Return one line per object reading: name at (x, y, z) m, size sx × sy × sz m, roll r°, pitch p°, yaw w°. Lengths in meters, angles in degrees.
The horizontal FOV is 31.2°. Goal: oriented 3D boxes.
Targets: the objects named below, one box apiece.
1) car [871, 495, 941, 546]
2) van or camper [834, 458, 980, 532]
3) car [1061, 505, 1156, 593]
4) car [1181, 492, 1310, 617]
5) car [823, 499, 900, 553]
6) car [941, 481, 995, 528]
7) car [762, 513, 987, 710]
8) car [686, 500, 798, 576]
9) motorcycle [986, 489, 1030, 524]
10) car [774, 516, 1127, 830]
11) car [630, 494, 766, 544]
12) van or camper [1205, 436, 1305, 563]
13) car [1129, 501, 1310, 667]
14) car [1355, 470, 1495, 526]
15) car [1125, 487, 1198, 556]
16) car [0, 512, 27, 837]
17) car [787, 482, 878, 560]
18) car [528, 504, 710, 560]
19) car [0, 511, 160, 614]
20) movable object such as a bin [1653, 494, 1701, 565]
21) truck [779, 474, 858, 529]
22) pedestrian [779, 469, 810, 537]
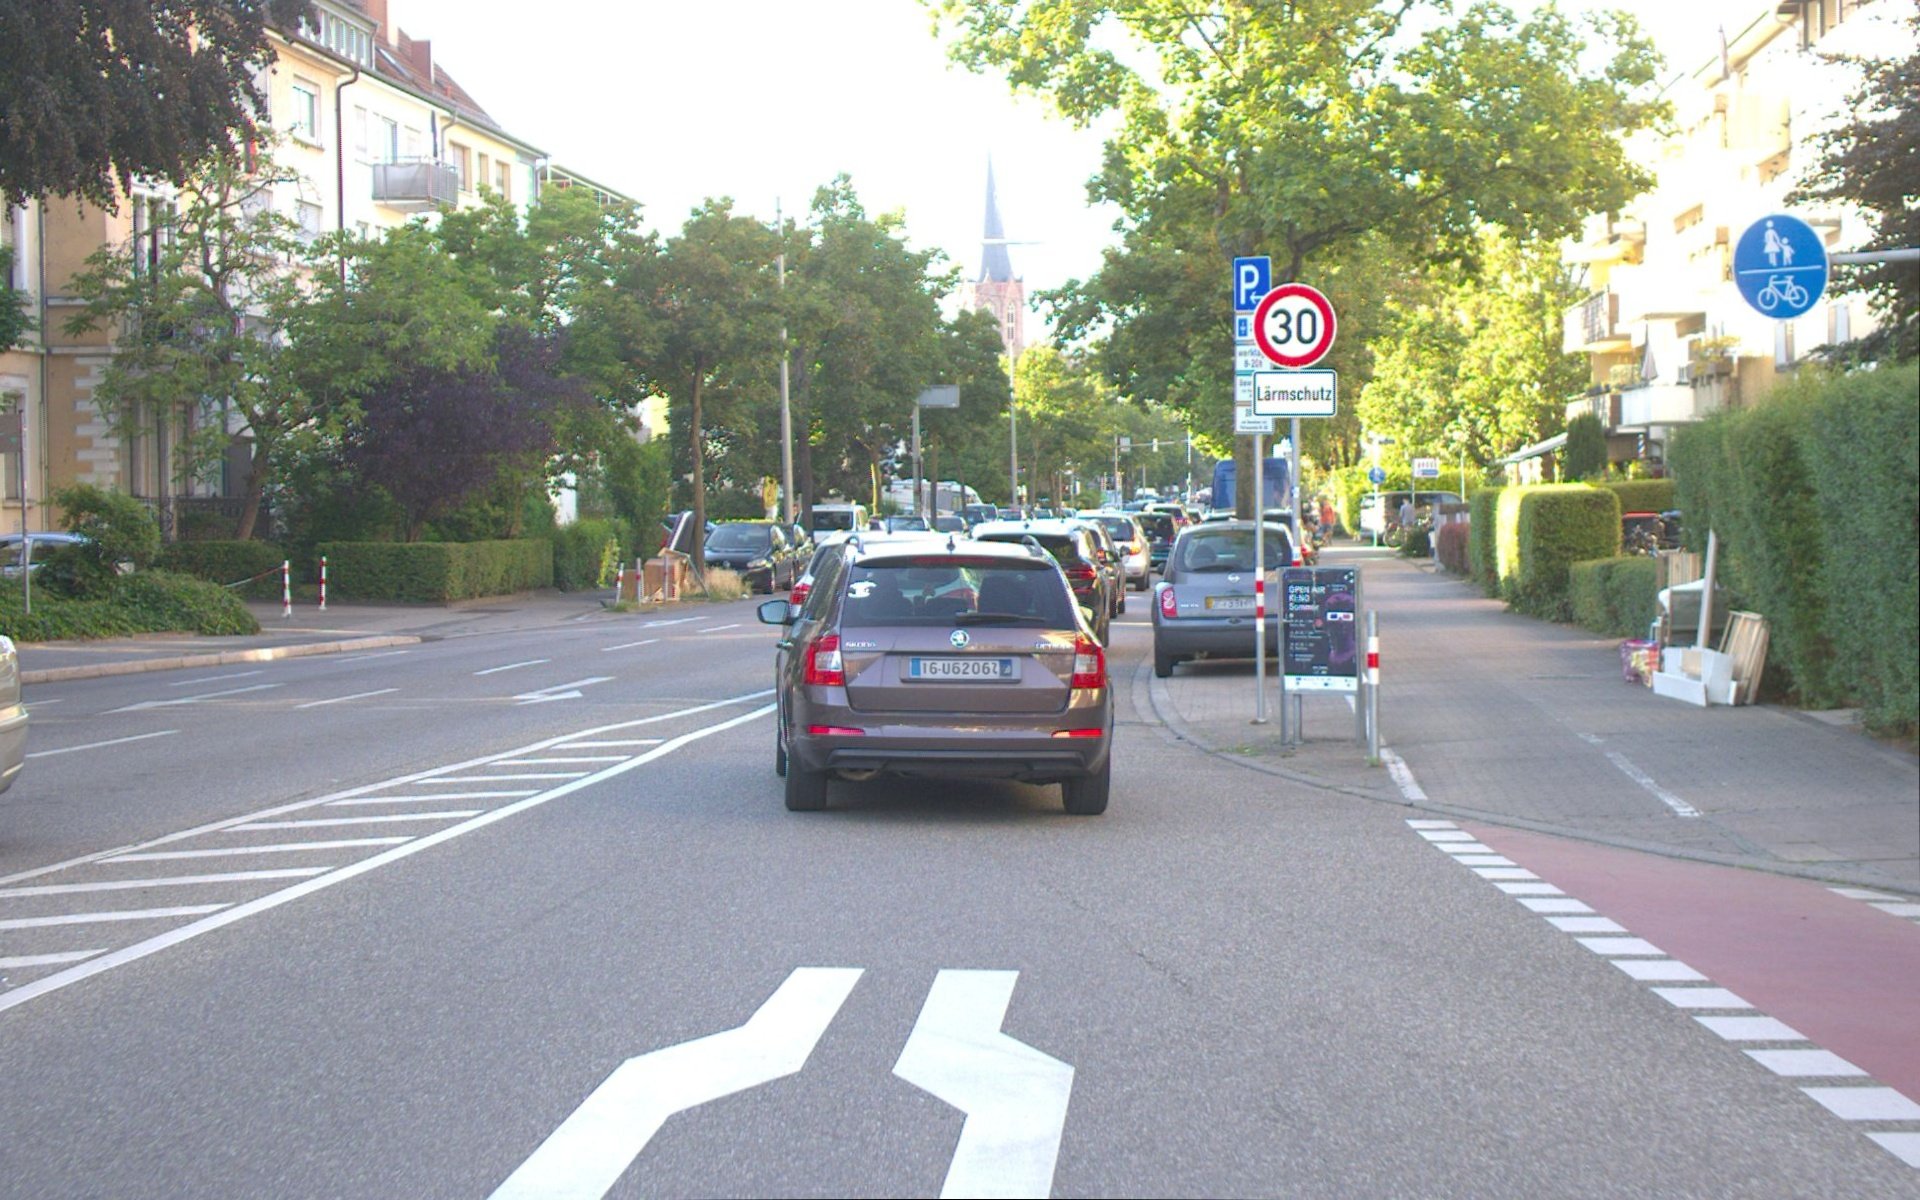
car at (-1.667, -2.503, 107.517) m, size 1.717 × 1.492 × 4.247 m, roll -1°, pitch 2°, yaw 5°
van or camper at (-2.799, -5.627, 183.874) m, size 7.641 × 3.861 × 2.000 m, roll -1°, pitch 2°, yaw 3°
car at (2.992, -1.037, 68.851) m, size 1.732 × 1.645 × 3.541 m, roll -1°, pitch 2°, yaw 5°
car at (4.067, -0.686, 48.959) m, size 1.732 × 1.645 × 4.291 m, roll -1°, pitch 2°, yaw 5°
car at (-2.729, -2.085, 95.986) m, size 1.717 × 1.416 × 3.786 m, roll -1°, pitch 2°, yaw 5°
car at (0.312, -3.690, 132.205) m, size 1.750 × 1.734 × 3.591 m, roll -1°, pitch 2°, yaw 5°
car at (-0.666, 0.043, 29.457) m, size 1.729 × 1.488 × 3.951 m, roll -1°, pitch 2°, yaw 1°
car at (-4.597, -1.333, 73.142) m, size 1.750 × 1.497 × 4.196 m, roll -1°, pitch 2°, yaw 5°
motorcycle at (2.048, -4.011, 147.132) m, size 0.764 × 1.506 × 2.030 m, roll -2°, pitch 3°, yaw -37°
car at (-0.149, 0.318, 19.251) m, size 1.729 × 1.488 × 3.952 m, roll -1°, pitch 2°, yaw -3°
car at (-8.004, -2.488, 105.255) m, size 3.987 × 1.474 × 2.000 m, roll 0°, pitch 2°, yaw 2°
van or camper at (6.511, -2.202, 75.830) m, size 2.068 × 2.666 × 5.989 m, roll -1°, pitch 1°, yaw 5°
car at (2.669, -0.208, 35.155) m, size 1.732 × 1.545 × 3.646 m, roll -1°, pitch 2°, yaw 5°
car at (16.321, -3.579, 120.690) m, size 4.532 × 1.886 × 1.915 m, roll -2°, pitch 2°, yaw -22°
car at (5.102, -1.989, 86.686) m, size 1.732 × 1.645 × 3.541 m, roll -1°, pitch 2°, yaw 5°
car at (-5.548, 0.442, 14.153) m, size 1.828 × 1.509 × 4.604 m, roll -1°, pitch 2°, yaw 4°
car at (-3.249, -2.054, 88.583) m, size 1.770 × 1.912 × 4.459 m, roll -1°, pitch 2°, yaw 5°
car at (-9.025, -1.801, 90.782) m, size 4.709 × 1.358 × 2.001 m, roll -1°, pitch 2°, yaw -8°
car at (-14.107, -0.567, 52.075) m, size 3.497 × 1.481 × 1.816 m, roll -1°, pitch 2°, yaw 1°
movable object such as a bin at (10.451, -1.032, 50.106) m, size 0.582 × 0.999 × 0.796 m, roll -1°, pitch 2°, yaw 5°
truck at (-5.520, -3.836, 134.200) m, size 2.914 × 2.086 × 1.546 m, roll -1°, pitch 2°, yaw 5°
pedestrian at (-4.936, -2.909, 102.685) m, size 0.767 × 2.006 × 0.976 m, roll -1°, pitch 2°, yaw 4°
